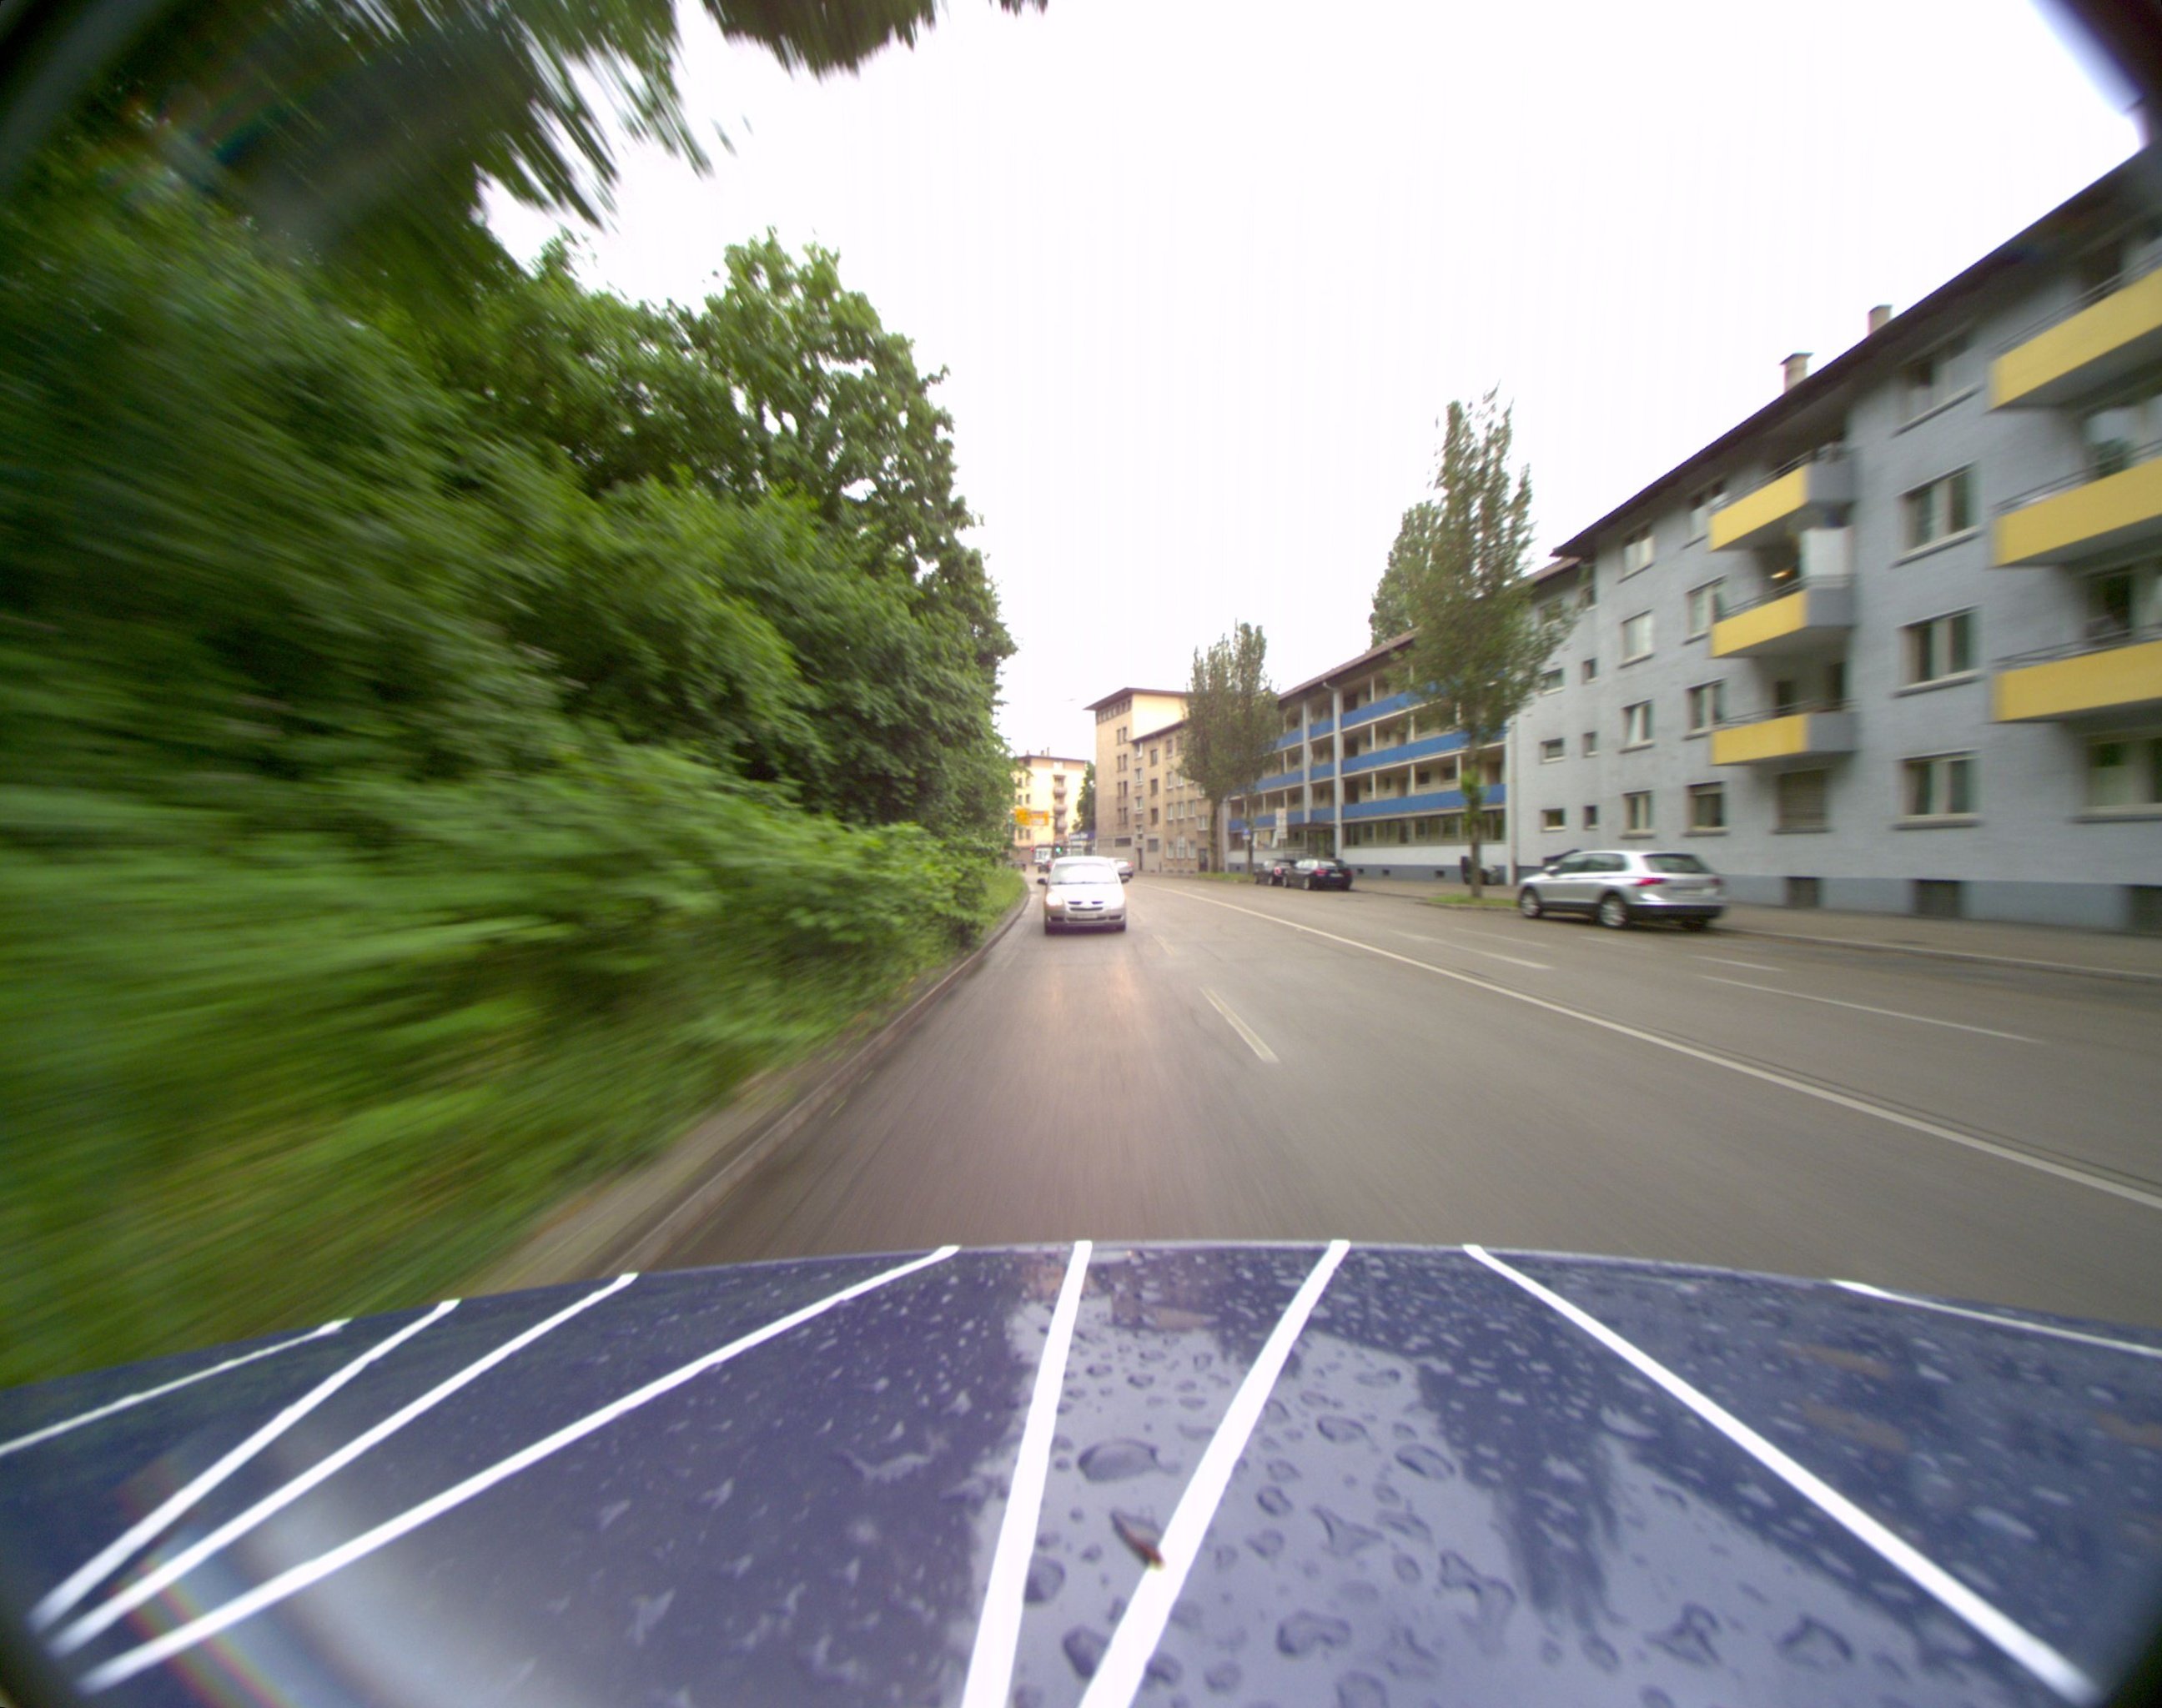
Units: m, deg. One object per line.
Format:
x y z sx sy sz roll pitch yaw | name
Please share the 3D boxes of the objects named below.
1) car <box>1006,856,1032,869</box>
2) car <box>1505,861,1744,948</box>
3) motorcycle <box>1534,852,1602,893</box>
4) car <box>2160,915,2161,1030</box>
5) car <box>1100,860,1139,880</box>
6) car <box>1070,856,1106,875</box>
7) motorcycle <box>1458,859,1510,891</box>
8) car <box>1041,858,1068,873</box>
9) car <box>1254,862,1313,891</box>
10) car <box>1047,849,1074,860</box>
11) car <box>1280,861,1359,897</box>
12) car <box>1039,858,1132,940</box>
-7.220 0.957 87.889 1.798 1.398 4.617 0 0 -20 | car
11.350 0.955 16.350 1.768 1.594 4.532 0 0 -2 | car
17.635 0.657 27.591 0.677 1.406 2.234 -3 1 -10 | motorcycle
11.414 0.992 5.309 1.729 1.444 4.204 0 0 -1 | car
2.792 1.130 55.751 1.759 1.417 4.532 -1 0 -12 | car
0.574 0.960 65.554 1.827 1.507 5.021 1 0 -15 | car
16.882 0.874 31.897 0.677 1.247 2.235 -3 0 -8 | motorcycle
-2.717 1.141 76.072 1.686 1.439 3.814 0 0 -18 | car
10.622 1.135 40.190 1.785 1.394 4.087 1 0 -4 | car
-3.214 0.092 119.925 4.269 1.638 1.763 1 2 44 | car
10.750 1.068 34.642 1.826 1.431 4.891 1 0 -3 | car
0.026 0.892 16.802 1.752 1.510 3.999 -2 0 -2 | car
